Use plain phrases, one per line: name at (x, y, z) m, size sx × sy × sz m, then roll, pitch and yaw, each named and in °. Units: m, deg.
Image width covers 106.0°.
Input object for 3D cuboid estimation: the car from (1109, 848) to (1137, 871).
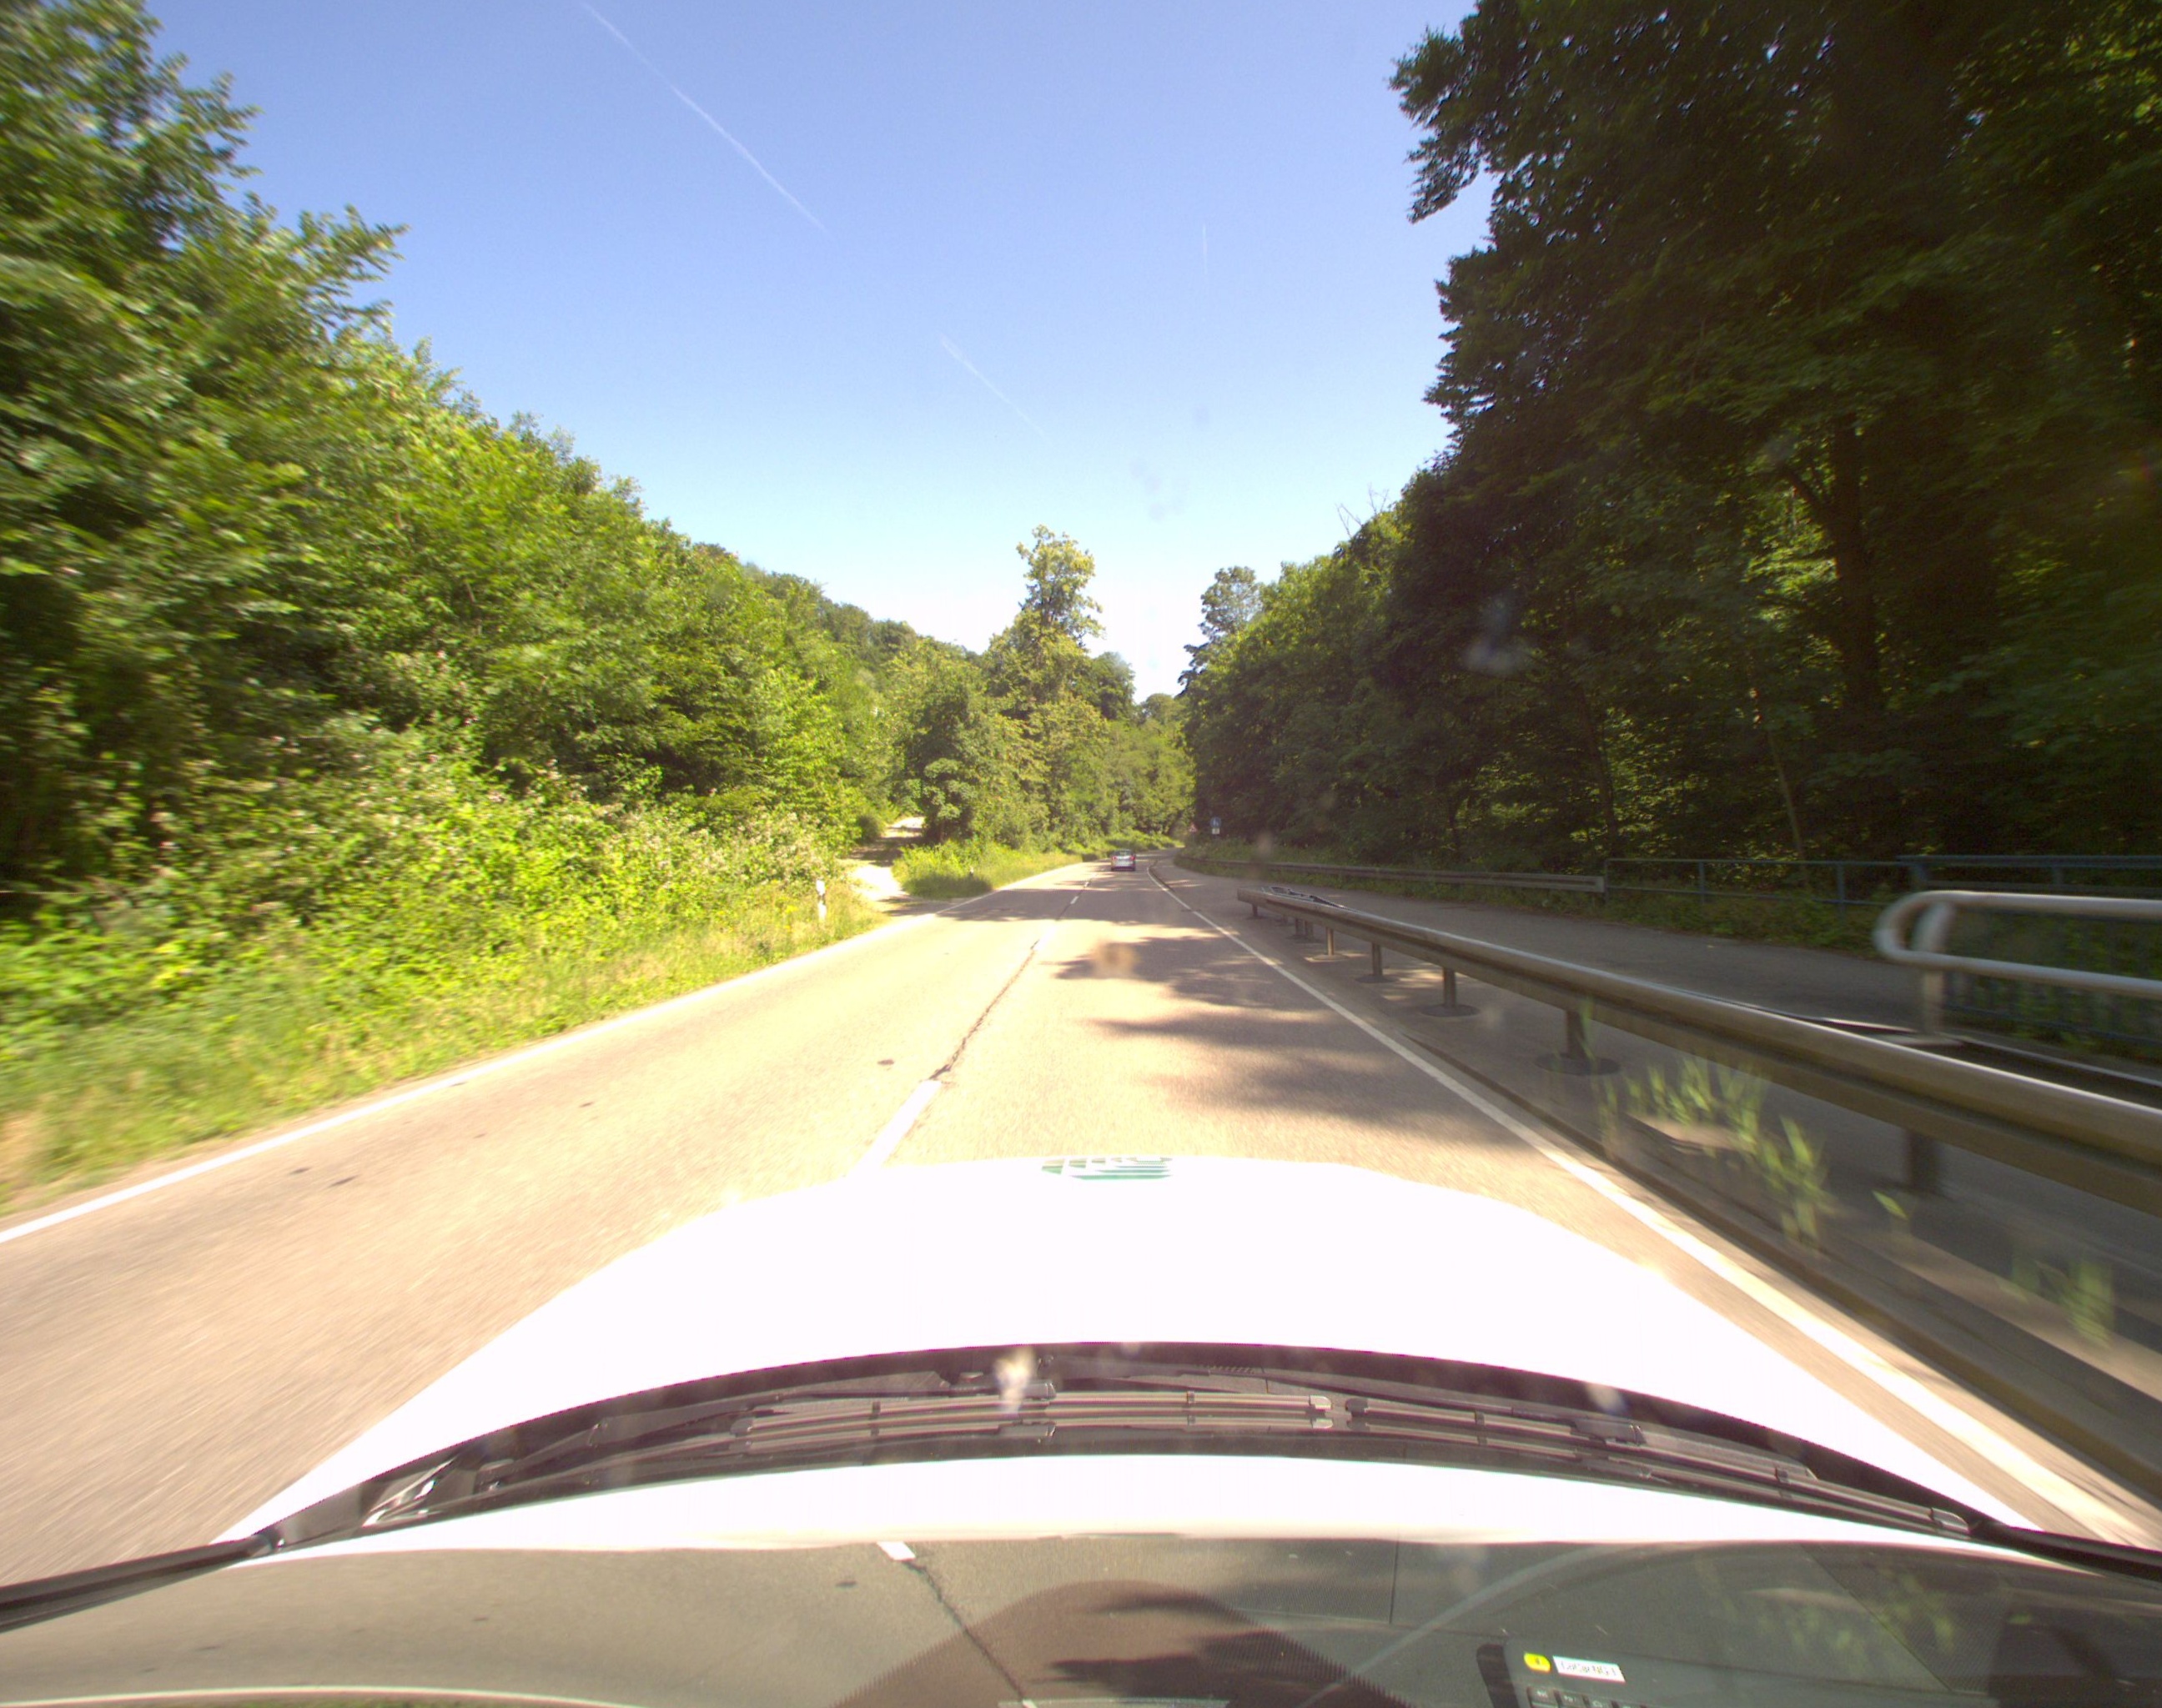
car at (3.065, 0.382, 58.651) m, size 1.742 × 1.520 × 4.167 m, roll 0°, pitch 1°, yaw 7°
